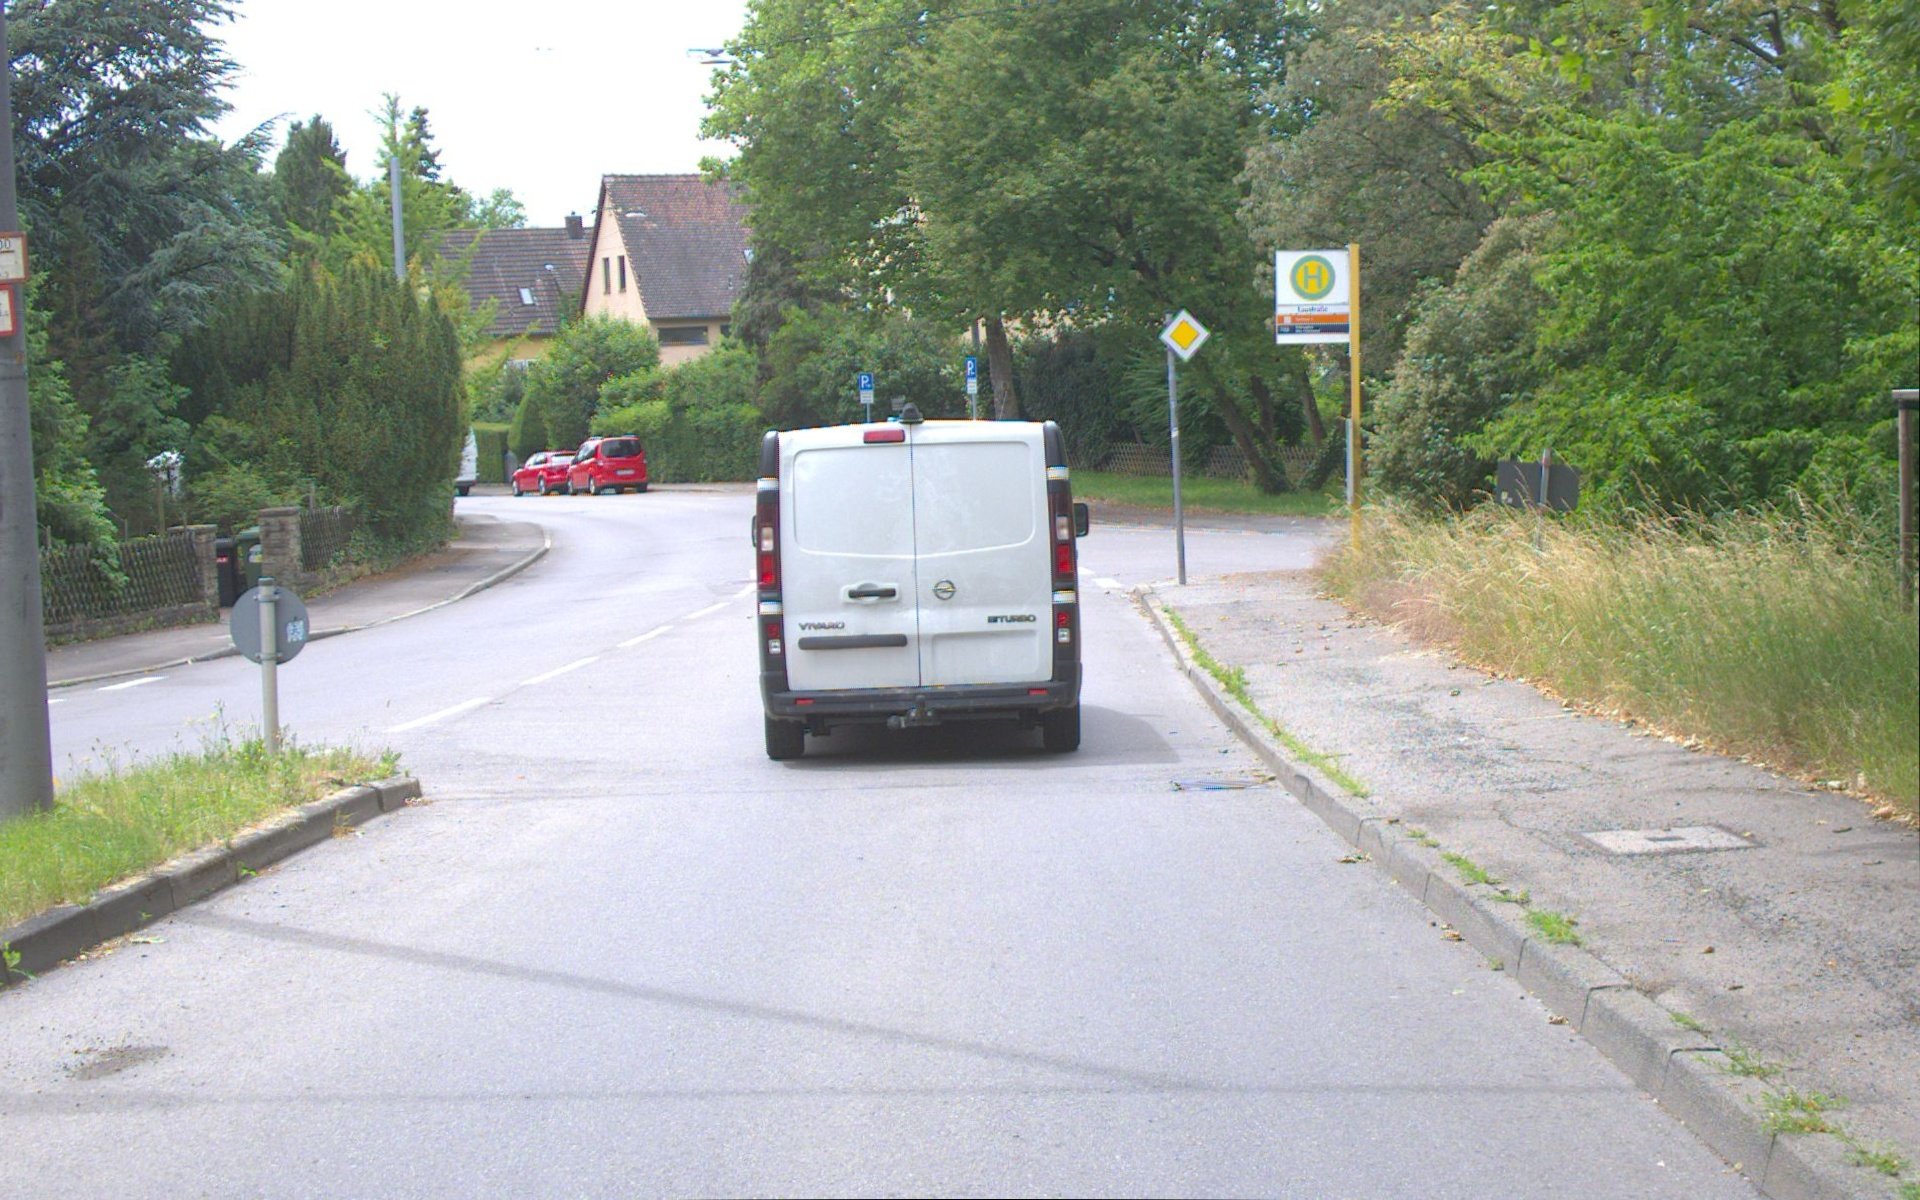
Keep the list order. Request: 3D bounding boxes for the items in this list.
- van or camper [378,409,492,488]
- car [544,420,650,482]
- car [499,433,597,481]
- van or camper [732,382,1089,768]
[{"bbox_3d":[-18.934,-5.435,123.697,2.066,2.665,6.330,-5,4,-26],"label":"van or camper"},{"bbox_3d":[-11.229,-4.583,106.086,1.760,1.790,4.950,-4,3,-23],"label":"car"},{"bbox_3d":[-13.323,-4.602,111.015,1.712,1.462,4.269,-4,4,-27],"label":"car"},{"bbox_3d":[-0.209,-0.286,21.430,1.924,2.006,4.830,-1,5,2],"label":"van or camper"}]
